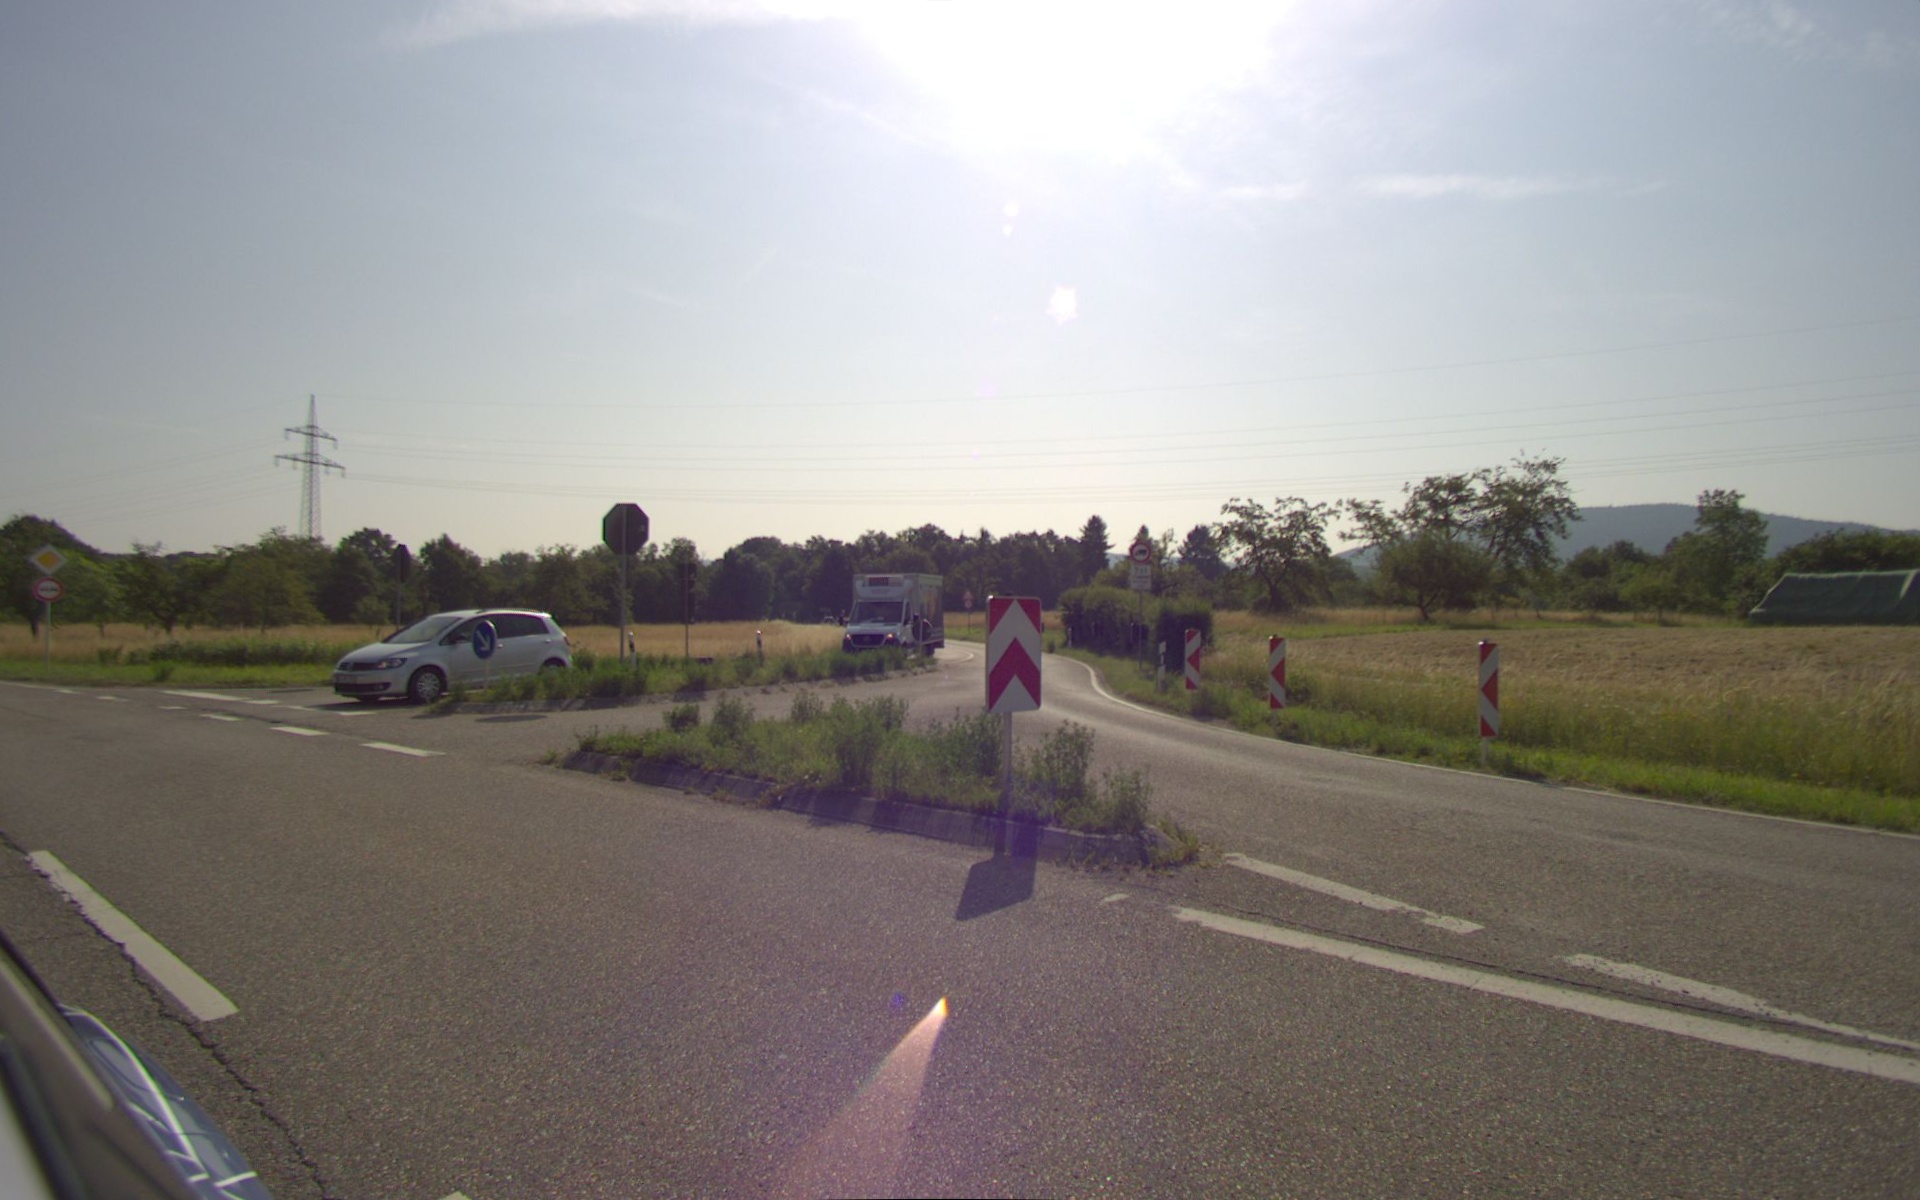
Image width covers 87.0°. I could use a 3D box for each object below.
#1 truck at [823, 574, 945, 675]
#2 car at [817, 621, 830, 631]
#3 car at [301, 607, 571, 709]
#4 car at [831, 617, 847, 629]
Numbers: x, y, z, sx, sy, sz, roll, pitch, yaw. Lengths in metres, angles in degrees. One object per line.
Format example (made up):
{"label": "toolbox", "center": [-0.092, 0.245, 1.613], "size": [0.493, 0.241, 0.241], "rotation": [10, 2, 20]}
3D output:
{"label": "truck", "center": [-2.426, 0.788, 34.886], "size": [2.555, 3.068, 7.344], "rotation": [-1, -1, 9]}
{"label": "car", "center": [-22.416, 4.251, 166.174], "size": [1.788, 1.564, 4.010], "rotation": [-1, -1, -12]}
{"label": "car", "center": [-9.182, 0.956, 18.060], "size": [1.990, 1.592, 3.873], "rotation": [-1, -1, 27]}
{"label": "car", "center": [-17.018, 3.264, 142.379], "size": [1.788, 1.564, 4.010], "rotation": [-1, 0, -12]}
